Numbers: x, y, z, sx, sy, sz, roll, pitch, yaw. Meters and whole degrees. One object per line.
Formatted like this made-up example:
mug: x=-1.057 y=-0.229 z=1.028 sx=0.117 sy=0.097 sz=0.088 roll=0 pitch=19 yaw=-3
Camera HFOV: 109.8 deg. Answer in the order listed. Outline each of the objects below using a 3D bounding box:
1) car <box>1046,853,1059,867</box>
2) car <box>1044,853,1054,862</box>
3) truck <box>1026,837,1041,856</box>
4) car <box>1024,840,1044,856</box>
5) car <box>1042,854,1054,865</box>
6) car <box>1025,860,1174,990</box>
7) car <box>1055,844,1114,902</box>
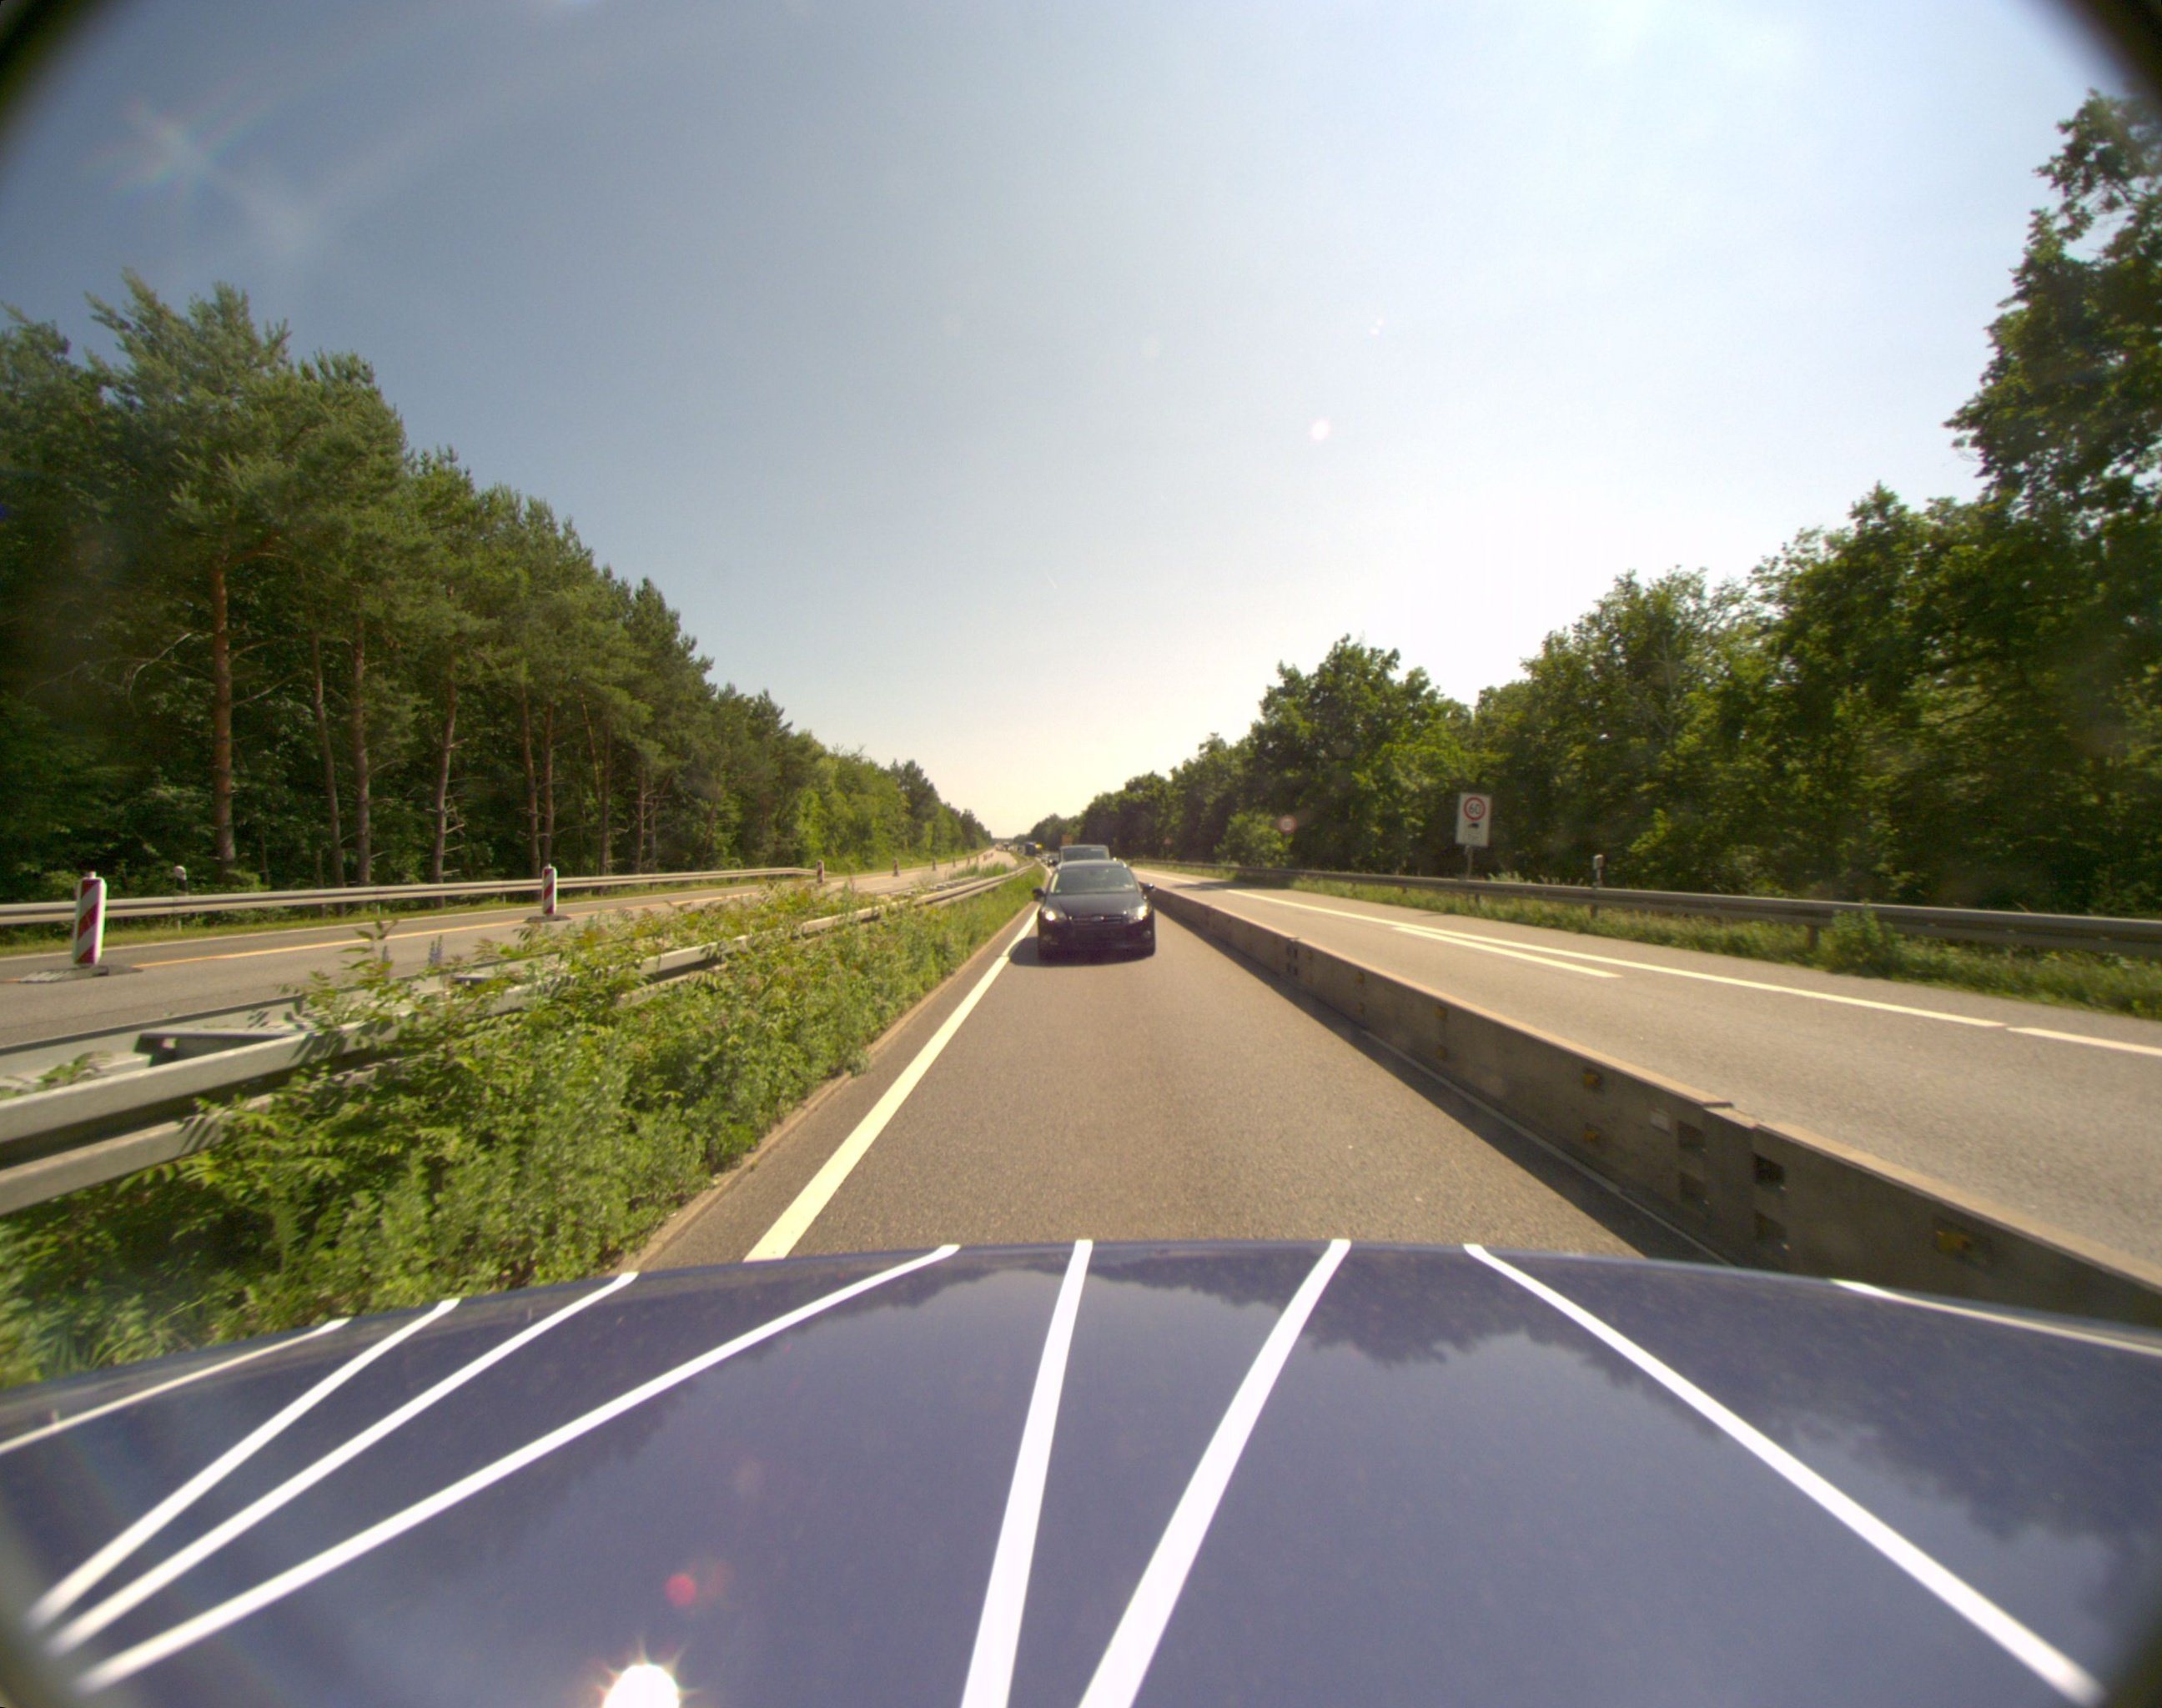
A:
car: x=-3.519 y=0.746 z=94.594 sx=1.527 sy=1.647 sz=3.980 roll=-1 pitch=0 yaw=0
car: x=-5.648 y=0.581 z=133.228 sx=1.527 sy=1.647 sz=3.754 roll=0 pitch=0 yaw=0
truck: x=-13.117 y=-2.030 z=210.256 sx=3.830 sy=5.266 sz=11.242 roll=-1 pitch=0 yaw=-4
car: x=-5.423 y=-0.649 z=87.775 sx=1.998 sy=1.773 sz=4.000 roll=-1 pitch=0 yaw=0
car: x=-5.002 y=0.841 z=115.518 sx=1.527 sy=1.647 sz=3.980 roll=-1 pitch=0 yaw=0
car: x=0.204 y=0.924 z=12.165 sx=1.847 sy=1.537 sz=4.935 roll=-2 pitch=0 yaw=-1
car: x=0.094 y=0.625 z=28.741 sx=1.960 sy=1.901 sz=4.934 roll=-2 pitch=1 yaw=-1
